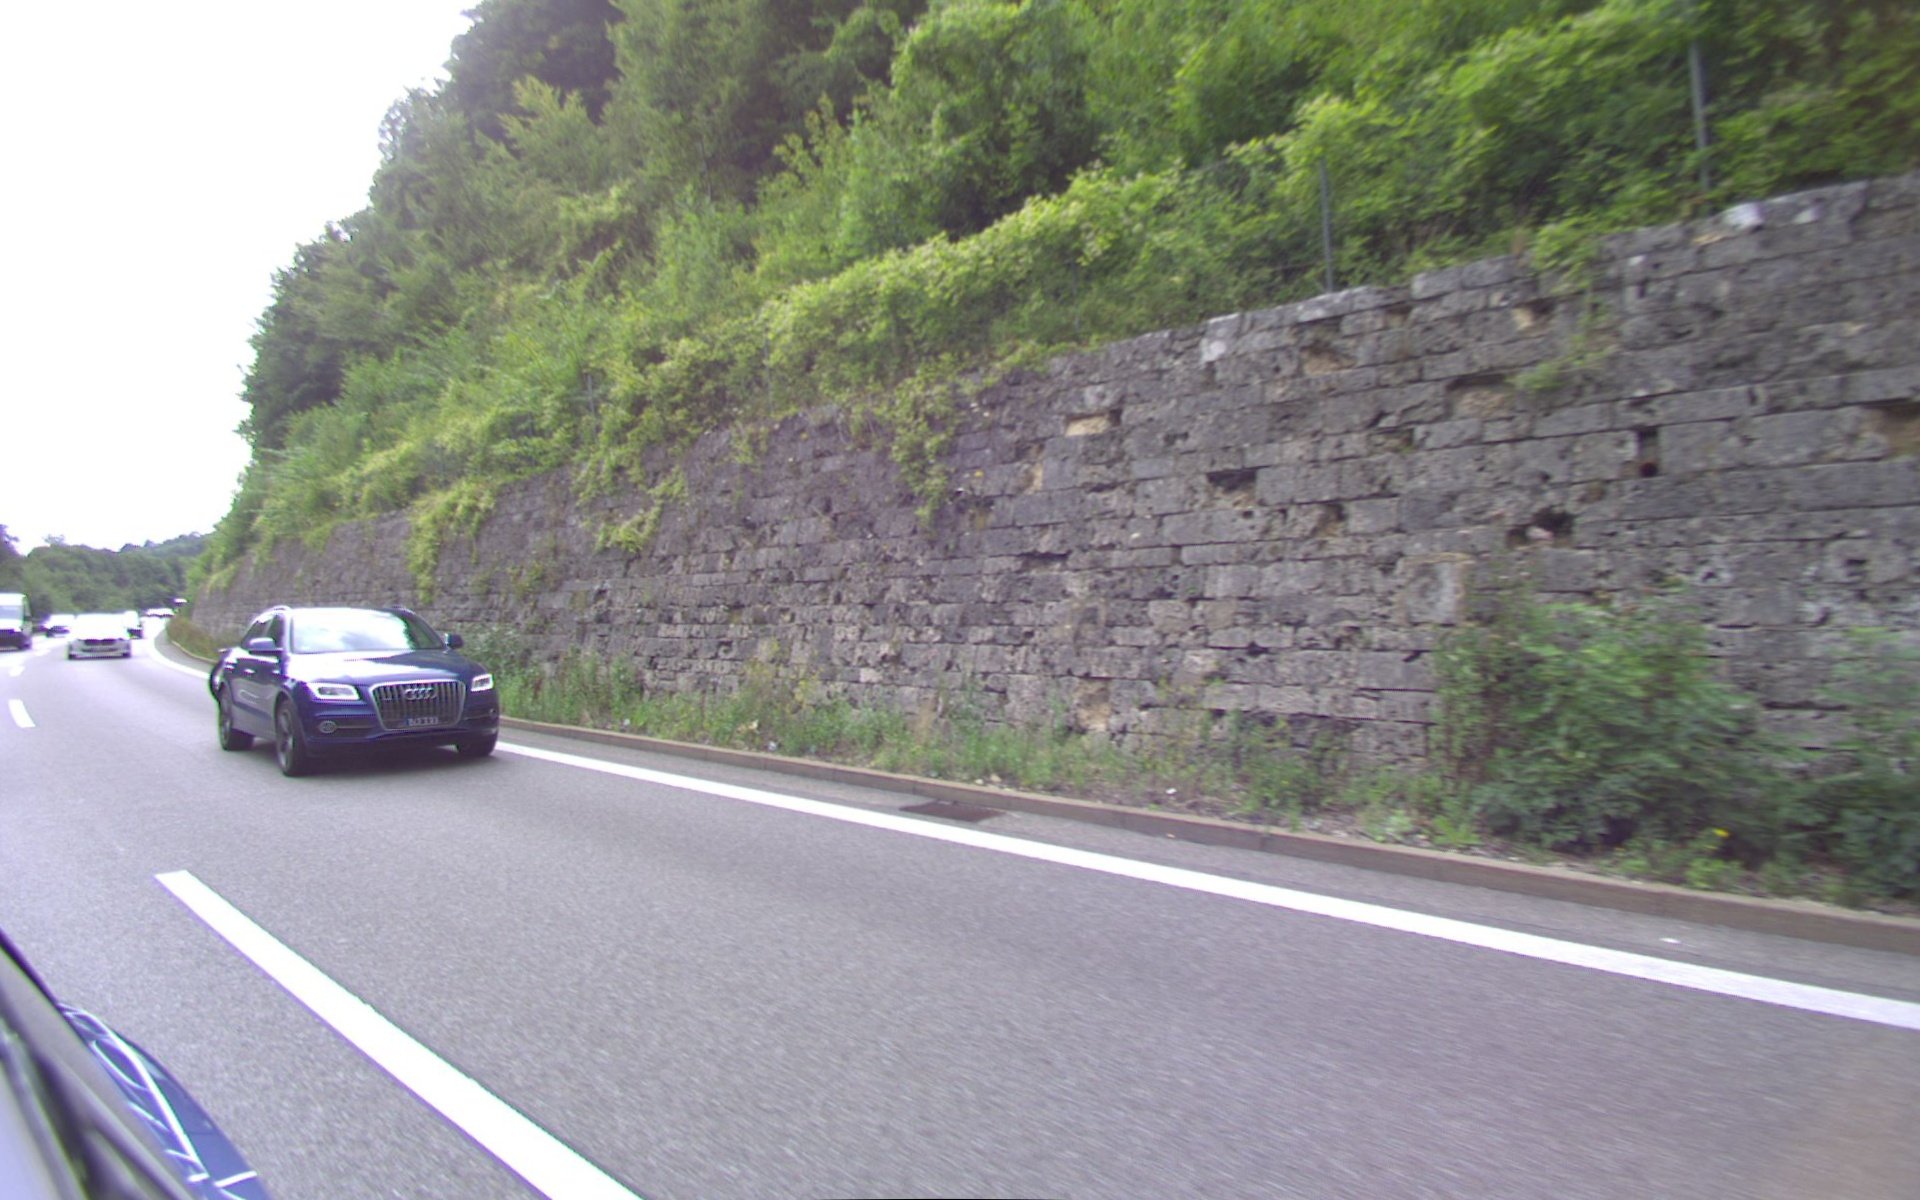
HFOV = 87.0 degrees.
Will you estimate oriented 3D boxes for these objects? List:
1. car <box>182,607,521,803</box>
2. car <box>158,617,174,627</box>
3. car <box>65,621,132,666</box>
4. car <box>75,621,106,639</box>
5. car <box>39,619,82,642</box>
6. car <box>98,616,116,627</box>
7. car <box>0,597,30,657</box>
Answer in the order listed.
[{"bbox_3d":[-7.099,0.930,11.460,5.588,1.605,1.949,0,2,45],"label":"car"},{"bbox_3d":[-131.253,3.594,167.298,1.794,1.567,4.010,0,-2,-35],"label":"car"},{"bbox_3d":[-32.186,1.610,37.793,1.796,1.567,4.005,0,-2,-42],"label":"car"},{"bbox_3d":[-81.082,2.786,94.385,1.794,1.567,4.010,0,-2,-35],"label":"car"},{"bbox_3d":[-64.014,2.214,72.083,1.794,1.567,4.010,0,-2,-35],"label":"car"},{"bbox_3d":[-129.615,3.209,153.809,1.794,1.567,4.010,0,-2,-35],"label":"car"},{"bbox_3d":[-43.919,1.270,46.085,2.068,2.582,5.928,0,-2,-41],"label":"car"}]
